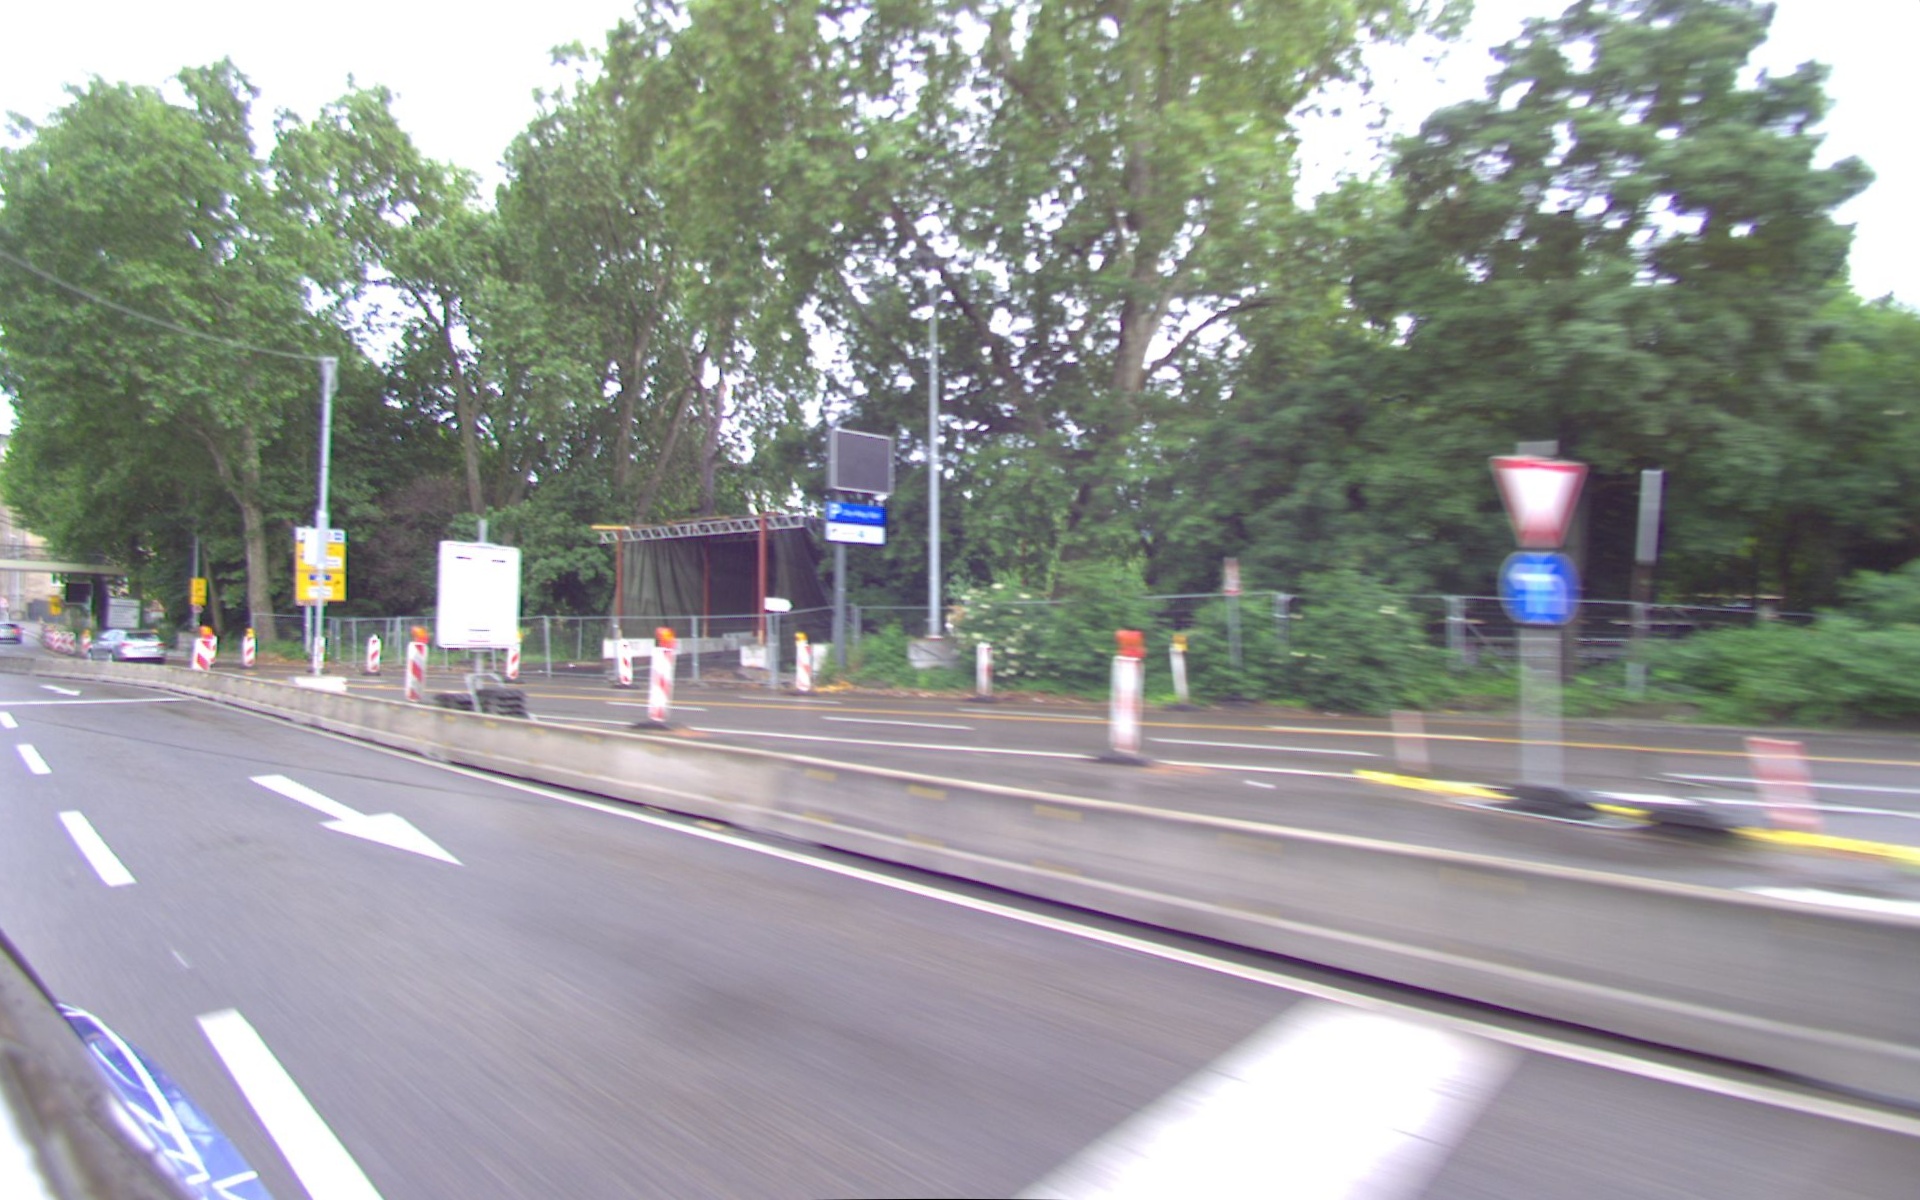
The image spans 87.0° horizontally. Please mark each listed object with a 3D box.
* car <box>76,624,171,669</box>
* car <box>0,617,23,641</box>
[{"bbox_3d":[-33.703,1.846,40.739,4.440,1.552,1.974,2,-2,38],"label":"car"},{"bbox_3d":[-69.768,2.102,73.834,4.092,1.552,1.848,2,-2,45],"label":"car"}]
